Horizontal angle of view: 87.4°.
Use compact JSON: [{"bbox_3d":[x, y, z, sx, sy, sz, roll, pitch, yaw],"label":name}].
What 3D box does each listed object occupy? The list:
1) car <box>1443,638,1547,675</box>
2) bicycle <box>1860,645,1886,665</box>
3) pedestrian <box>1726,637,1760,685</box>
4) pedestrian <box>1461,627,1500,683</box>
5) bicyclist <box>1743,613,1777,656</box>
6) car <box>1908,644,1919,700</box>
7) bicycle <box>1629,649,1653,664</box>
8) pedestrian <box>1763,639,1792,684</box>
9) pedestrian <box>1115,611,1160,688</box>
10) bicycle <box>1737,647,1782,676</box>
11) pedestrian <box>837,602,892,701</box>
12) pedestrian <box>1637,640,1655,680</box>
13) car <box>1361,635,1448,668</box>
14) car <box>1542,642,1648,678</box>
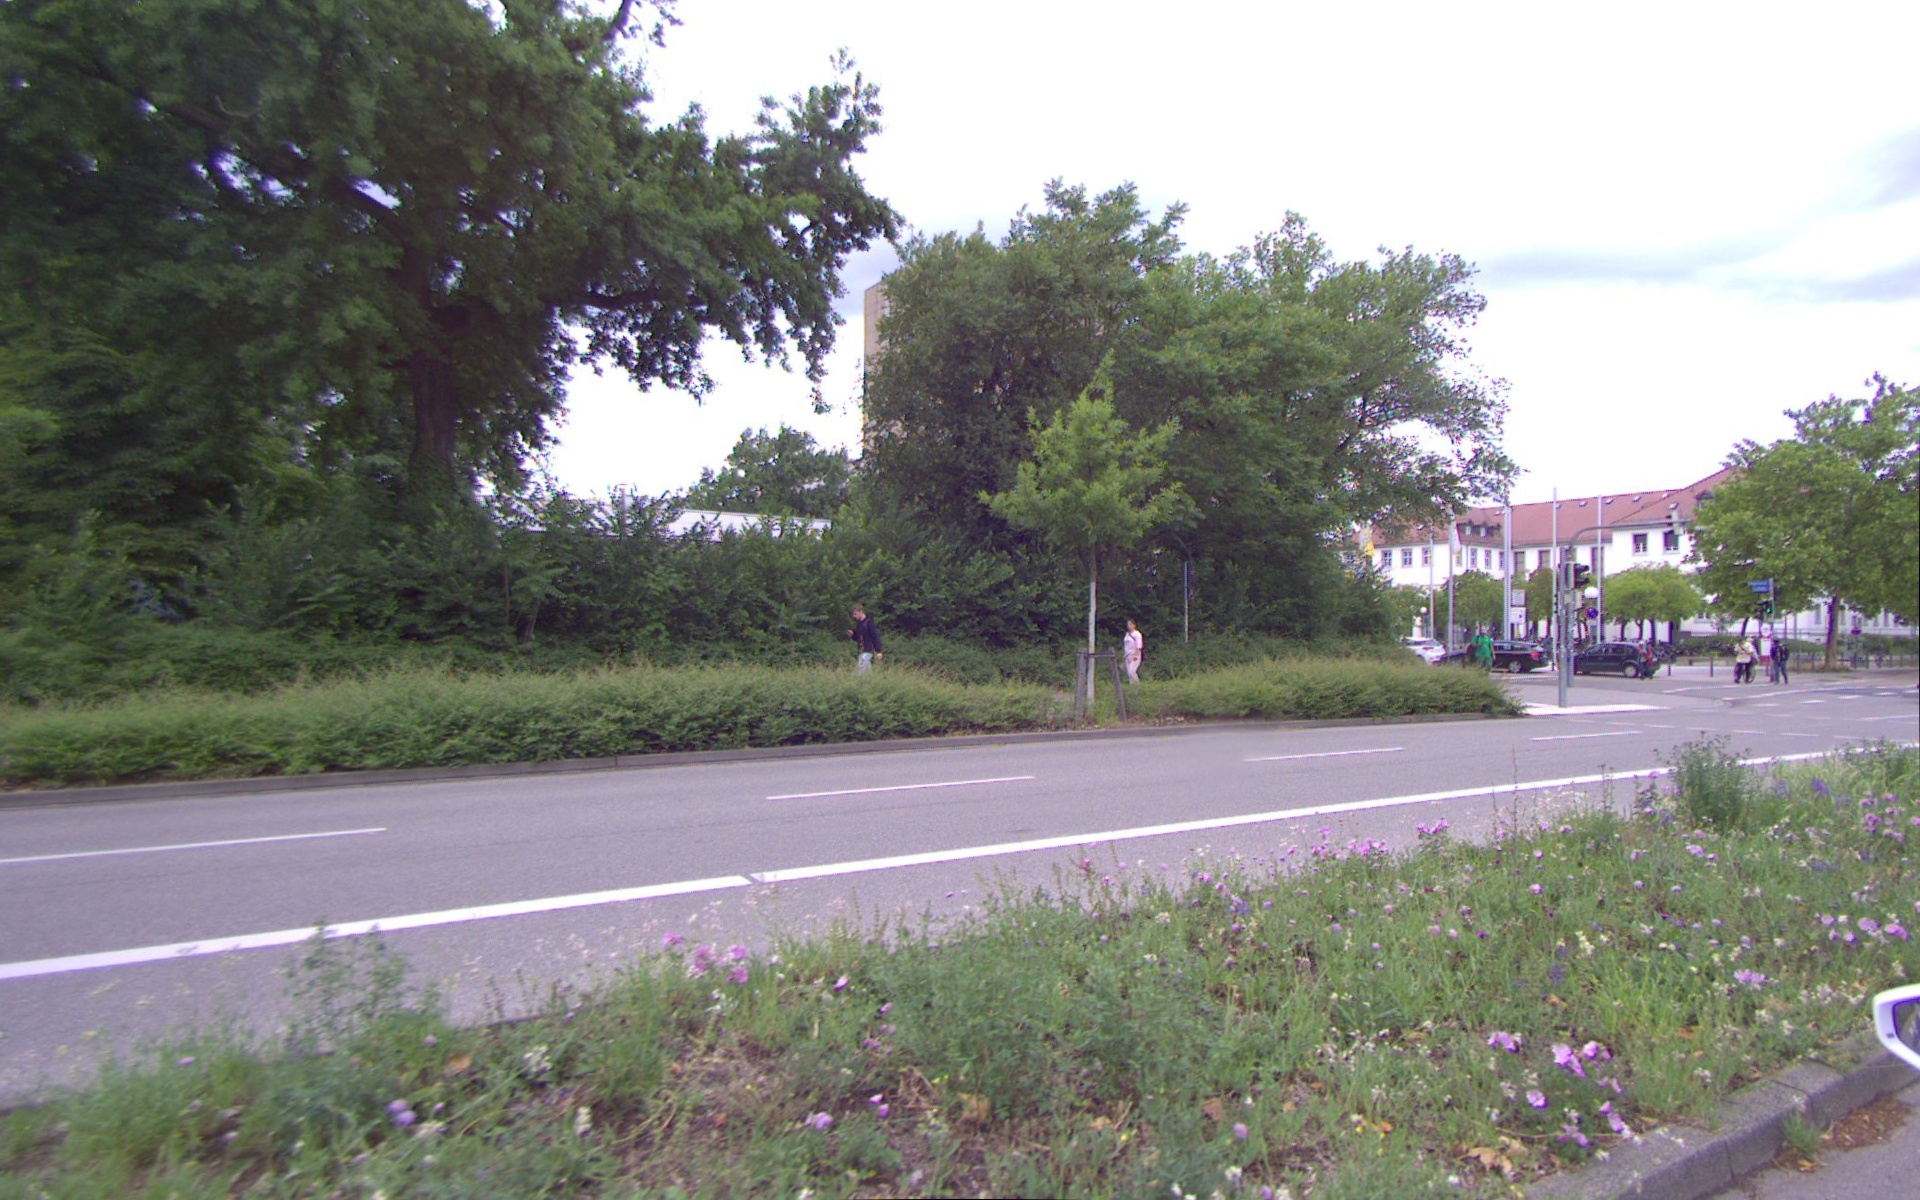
[{"bbox_3d":[25.129,2.620,47.267,4.007,1.472,1.613,-2,3,44],"label":"car"},{"bbox_3d":[49.618,2.970,54.569,2.025,1.074,0.603,1,-3,-36],"label":"bicycle"},{"bbox_3d":[29.575,2.311,37.957,0.827,1.761,0.830,1,-5,26],"label":"pedestrian"},{"bbox_3d":[16.950,1.772,32.712,0.924,1.782,0.876,2,-1,17],"label":"pedestrian"},{"bbox_3d":[31.352,1.351,39.373,0.654,1.657,0.962,2,-1,10],"label":"bicyclist"},{"bbox_3d":[26.050,1.823,25.656,3.762,1.399,1.601,1,-3,-30],"label":"car"},{"bbox_3d":[41.367,3.426,61.029,1.191,0.892,0.263,-2,-3,38],"label":"bicycle"},{"bbox_3d":[29.581,2.232,36.341,0.780,1.578,0.696,0,-5,41],"label":"pedestrian"},{"bbox_3d":[3.893,1.076,22.015,0.663,1.657,0.697,1,-3,-30],"label":"pedestrian"},{"bbox_3d":[31.315,2.396,39.366,0.654,1.076,1.620,2,-1,10],"label":"bicycle"},{"bbox_3d":[-1.736,0.930,18.222,0.808,1.752,0.617,1,-3,-30],"label":"pedestrian"},{"bbox_3d":[27.421,2.409,40.130,0.563,1.545,0.846,0,-6,37],"label":"pedestrian"},{"bbox_3d":[23.004,2.633,52.094,1.666,1.560,3.858,-1,0,-32],"label":"car"},{"bbox_3d":[27.920,2.623,44.233,1.547,1.240,3.631,-7,4,-35],"label":"car"}]
